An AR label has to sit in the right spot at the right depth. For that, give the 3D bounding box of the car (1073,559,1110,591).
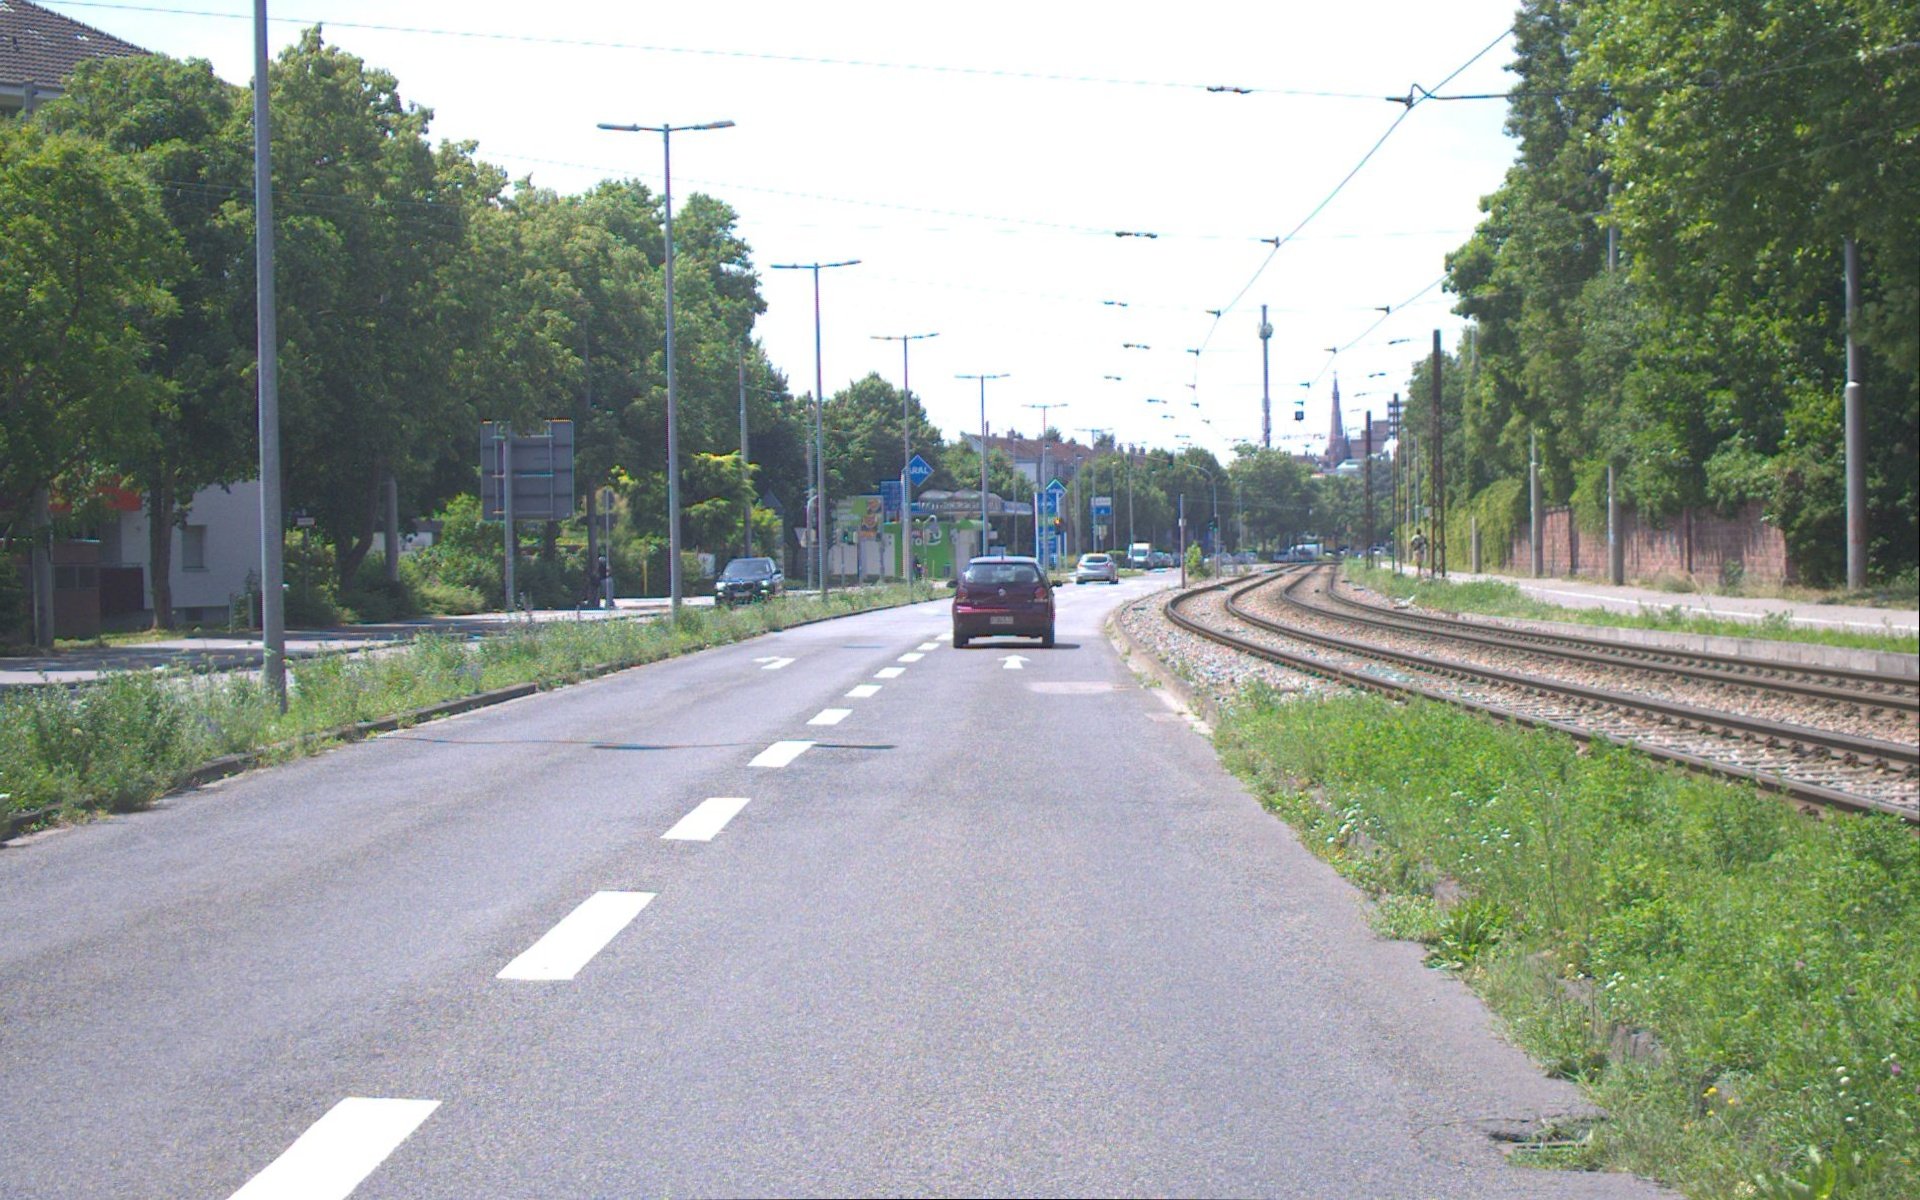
[{"bbox_3d":[6.355,-1.194,166.248,1.703,1.475,3.716,2,0,1],"label":"car"}]

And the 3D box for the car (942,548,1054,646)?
[{"bbox_3d":[0.634,-0.034,55.932,1.703,1.472,3.716,2,0,1],"label":"car"}]

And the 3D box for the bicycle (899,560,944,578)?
[{"bbox_3d":[-2.268,-1.811,203.501,2.549,1.034,1.088,0,0,-7],"label":"bicycle"}]

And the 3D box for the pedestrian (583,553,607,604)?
[{"bbox_3d":[-12.316,-0.733,115.970,0.550,1.712,0.603,-1,1,19],"label":"pedestrian"}]

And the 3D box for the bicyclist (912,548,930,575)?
[{"bbox_3d":[-2.317,-2.282,203.524,0.944,1.588,1.088,0,0,-8],"label":"bicyclist"}]

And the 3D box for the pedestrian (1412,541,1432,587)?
[{"bbox_3d":[17.363,-1.347,129.257,0.661,1.720,0.816,-1,1,5],"label":"pedestrian"}]

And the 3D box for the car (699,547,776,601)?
[{"bbox_3d":[-7.104,-0.830,110.240,1.923,1.620,4.756,-2,0,2],"label":"car"}]

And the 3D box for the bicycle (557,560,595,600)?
[{"bbox_3d":[-12.953,-0.683,115.910,0.646,1.323,1.572,-1,1,18],"label":"bicycle"}]
